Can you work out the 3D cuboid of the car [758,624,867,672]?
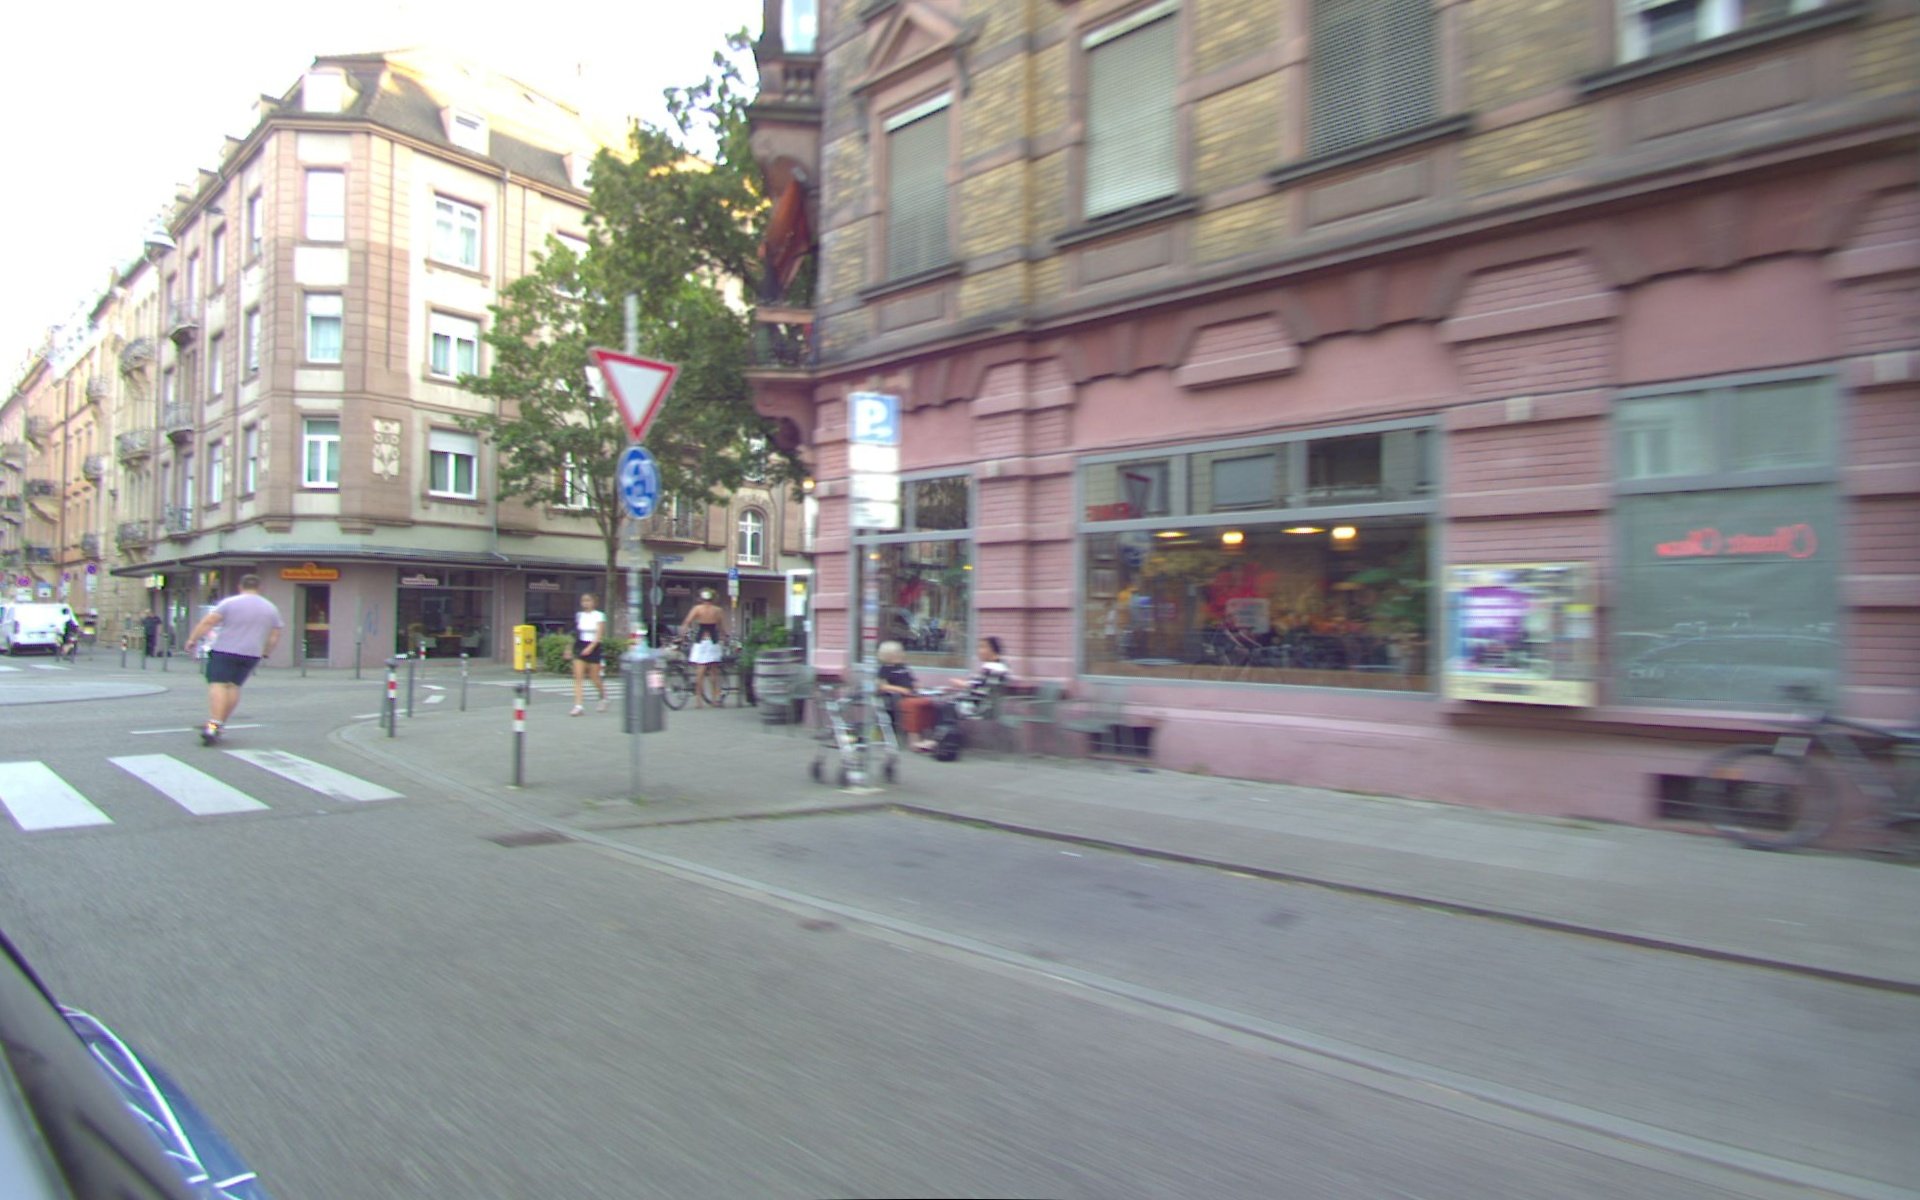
[{"bbox_3d":[-5.144,1.636,35.080,3.685,1.488,1.698,1,-2,41],"label":"car"}]

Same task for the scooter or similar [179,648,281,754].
[{"bbox_3d":[-8.368,1.121,11.588,0.797,1.112,1.173,3,-3,-42],"label":"scooter or similar"}]

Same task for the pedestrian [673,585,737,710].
[{"bbox_3d":[-4.003,0.740,15.932,0.715,1.869,1.022,-2,-2,1],"label":"pedestrian"}]

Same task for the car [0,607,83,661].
[{"bbox_3d":[-35.867,1.279,39.203,4.766,1.973,2.114,-1,-1,40],"label":"car"}]

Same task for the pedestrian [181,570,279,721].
[{"bbox_3d":[-8.450,0.523,11.715,0.797,1.673,0.673,3,-3,-42],"label":"pedestrian"}]

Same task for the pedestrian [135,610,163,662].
[{"bbox_3d":[-28.545,1.270,35.632,0.644,1.792,0.694,0,-2,-31],"label":"pedestrian"}]

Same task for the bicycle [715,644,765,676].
[{"bbox_3d":[-6.750,1.829,31.109,1.468,0.902,0.477,1,-1,-45],"label":"bicycle"}]

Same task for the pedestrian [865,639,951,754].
[{"bbox_3d":[-0.565,1.011,10.895,0.791,1.152,0.498,0,-1,43],"label":"pedestrian"}]

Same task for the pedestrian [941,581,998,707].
[{"bbox_3d":[0.126,0.616,14.352,0.647,1.709,0.666,-4,-1,-5],"label":"pedestrian"}]

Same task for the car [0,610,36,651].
[{"bbox_3d":[-44.701,1.383,47.084,4.539,1.835,2.113,-1,-1,42],"label":"car"}]

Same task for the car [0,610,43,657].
[{"bbox_3d":[-40.595,1.410,43.114,4.325,1.918,1.854,-1,-1,42],"label":"car"}]

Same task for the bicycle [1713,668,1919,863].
[{"bbox_3d":[5.597,0.967,5.893,1.899,1.061,0.420,-1,-2,45],"label":"bicycle"}]

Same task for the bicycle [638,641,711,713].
[{"bbox_3d":[-4.424,1.174,15.802,0.604,1.033,1.774,-2,-2,1],"label":"bicycle"}]

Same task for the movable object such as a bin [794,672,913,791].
[{"bbox_3d":[-0.938,1.135,8.954,0.729,0.922,0.754,1,-1,38],"label":"movable object such as a bin"}]

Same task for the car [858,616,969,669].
[{"bbox_3d":[-1.834,1.614,39.098,3.998,1.852,1.972,1,-2,41],"label":"car"}]

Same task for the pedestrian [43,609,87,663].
[{"bbox_3d":[-30.218,1.201,34.186,0.736,1.757,1.217,0,-1,-23],"label":"pedestrian"}]

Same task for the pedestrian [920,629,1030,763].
[{"bbox_3d":[0.161,0.950,10.321,0.903,1.264,0.644,-1,1,26],"label":"pedestrian"}]

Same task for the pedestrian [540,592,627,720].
[{"bbox_3d":[-5.605,0.824,15.110,0.748,1.825,1.045,-3,-3,13],"label":"pedestrian"}]

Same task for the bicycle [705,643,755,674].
[{"bbox_3d":[-7.174,1.814,31.596,1.468,0.902,0.477,1,-1,-45],"label":"bicycle"}]
